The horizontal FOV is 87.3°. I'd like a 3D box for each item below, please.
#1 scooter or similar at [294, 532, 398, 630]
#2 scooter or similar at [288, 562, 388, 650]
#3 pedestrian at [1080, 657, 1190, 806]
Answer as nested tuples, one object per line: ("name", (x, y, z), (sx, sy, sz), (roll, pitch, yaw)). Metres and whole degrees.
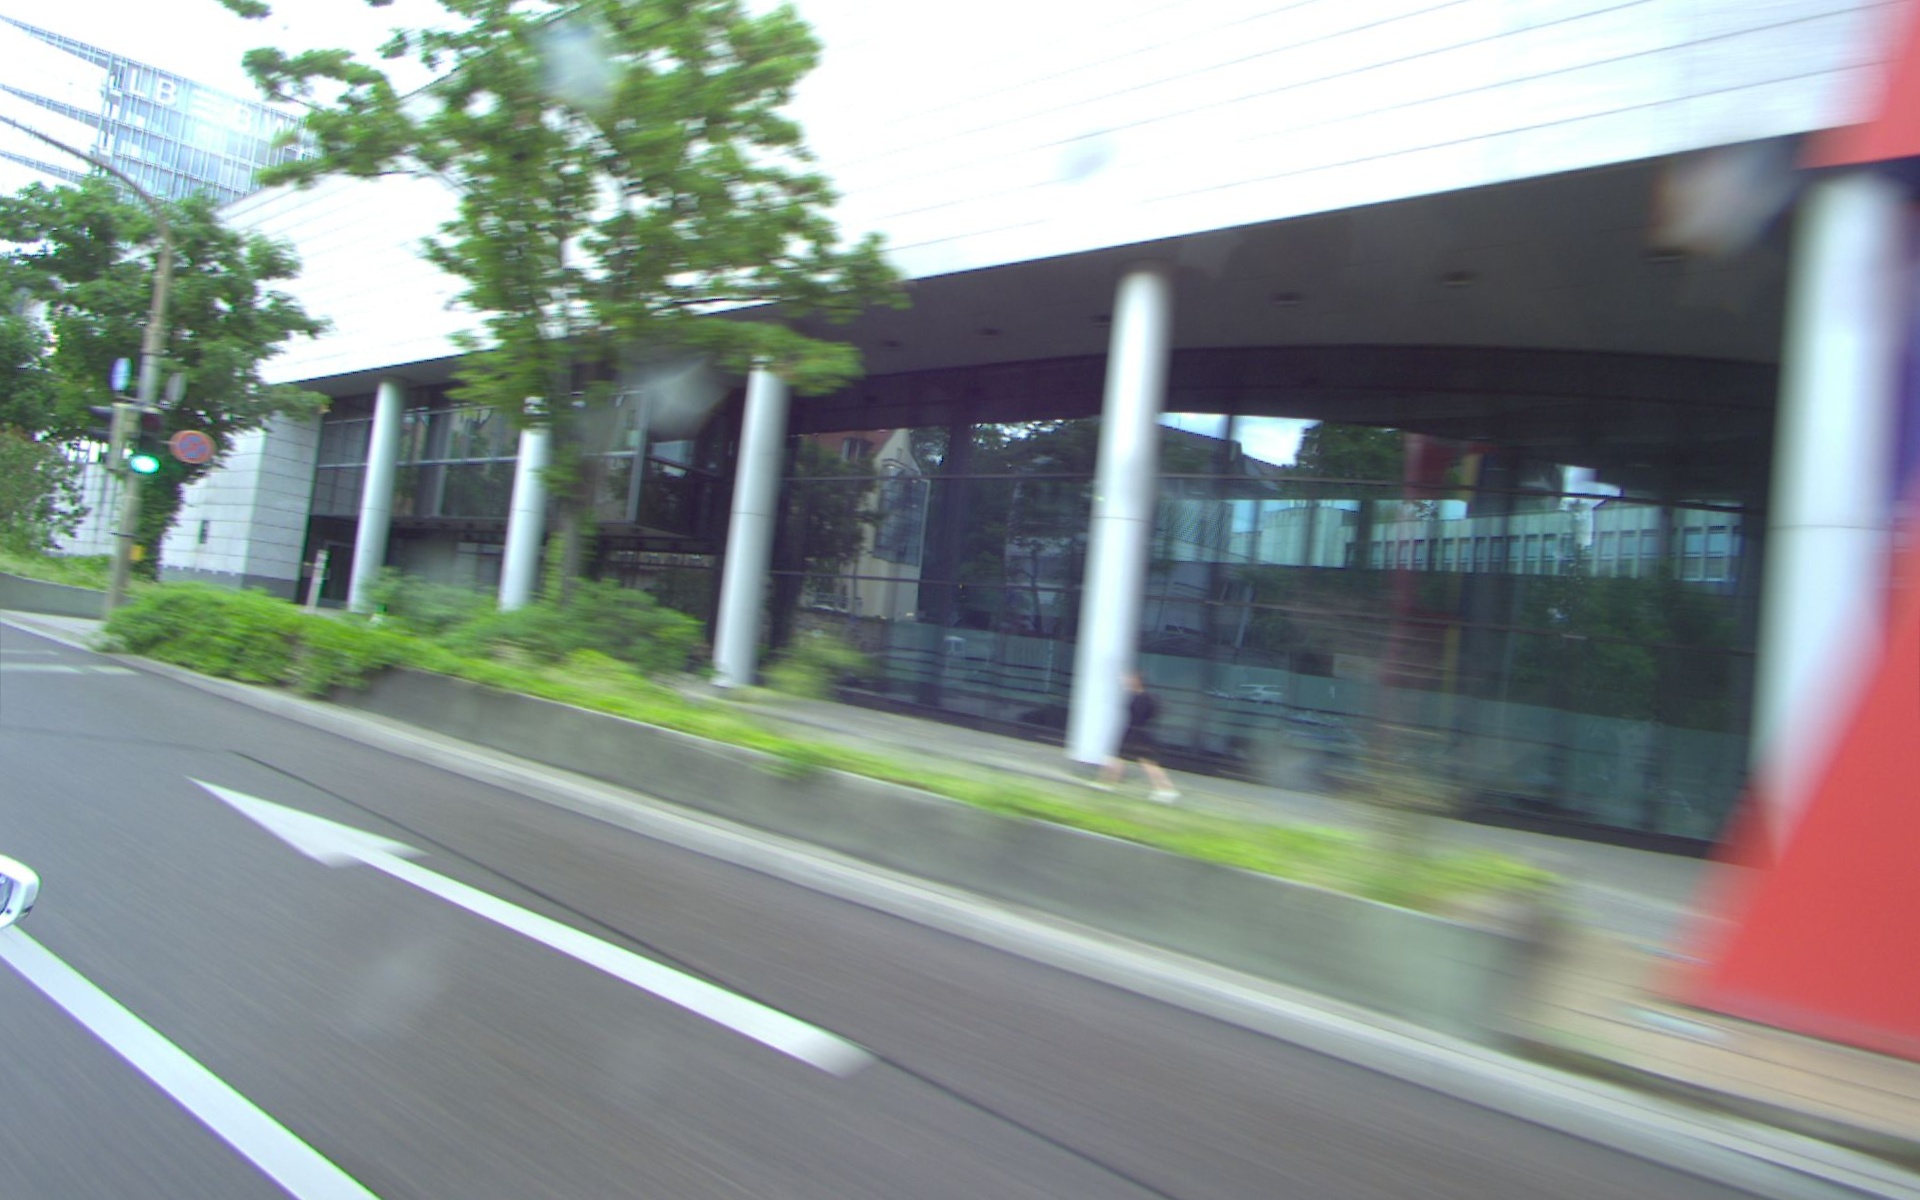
("scooter or similar", (-11.044, -0.320, 18.125), (0.495, 1.547, 1.325), (7, -3, 37))
("scooter or similar", (-11.438, 0.126, 18.528), (0.452, 1.424, 1.325), (7, -3, 37))
("pedestrian", (2.113, 1.556, 12.110), (0.828, 1.605, 0.971), (7, -1, 32))
